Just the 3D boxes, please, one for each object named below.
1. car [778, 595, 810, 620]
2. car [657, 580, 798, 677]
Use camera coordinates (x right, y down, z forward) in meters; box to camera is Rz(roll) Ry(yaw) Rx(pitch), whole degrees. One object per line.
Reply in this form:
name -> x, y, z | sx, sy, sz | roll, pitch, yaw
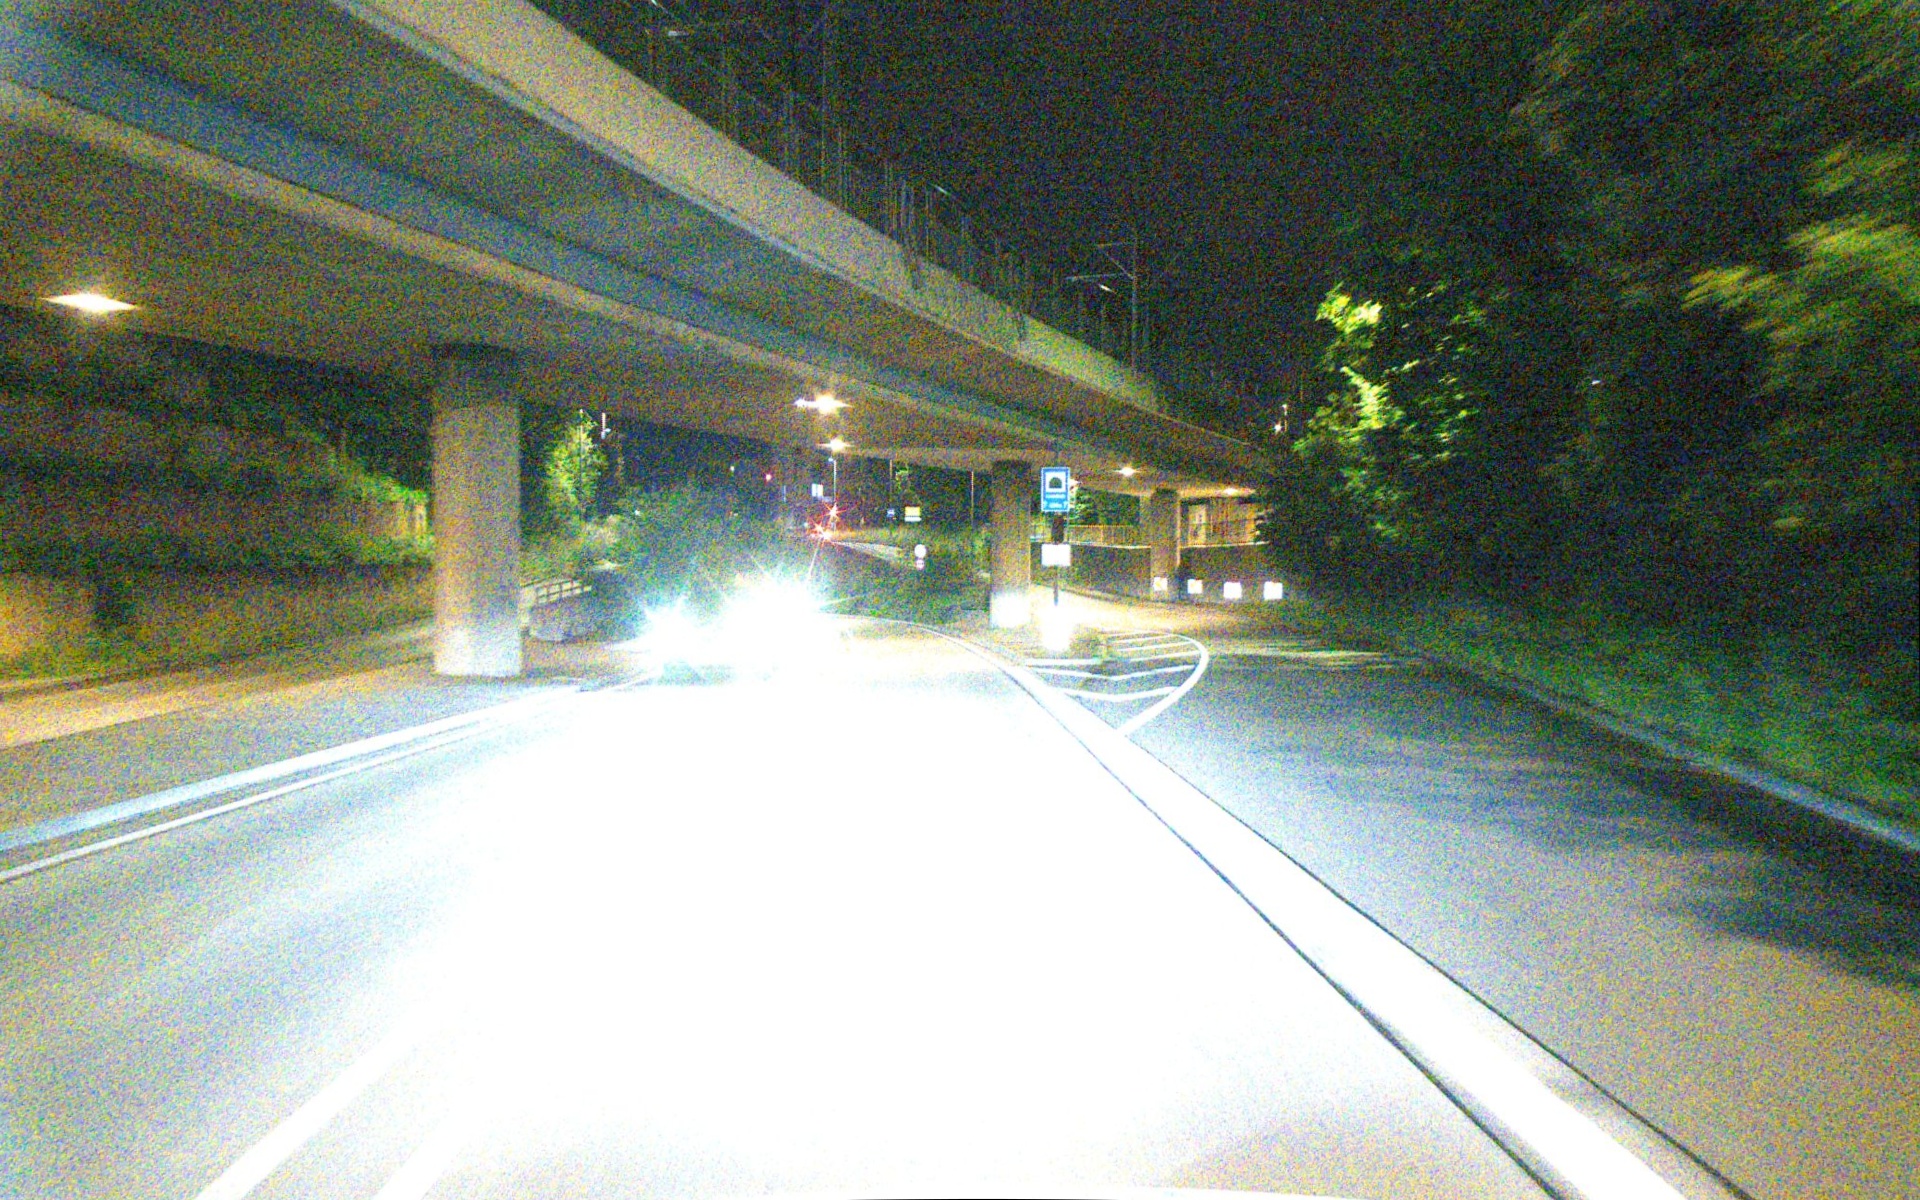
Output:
car -> -9.701, 0.455, 96.790 | 1.752, 1.473, 4.168 | 0, -1, -4
car -> -4.067, 0.488, 29.604 | 1.843, 1.581, 4.218 | -1, -1, 1
